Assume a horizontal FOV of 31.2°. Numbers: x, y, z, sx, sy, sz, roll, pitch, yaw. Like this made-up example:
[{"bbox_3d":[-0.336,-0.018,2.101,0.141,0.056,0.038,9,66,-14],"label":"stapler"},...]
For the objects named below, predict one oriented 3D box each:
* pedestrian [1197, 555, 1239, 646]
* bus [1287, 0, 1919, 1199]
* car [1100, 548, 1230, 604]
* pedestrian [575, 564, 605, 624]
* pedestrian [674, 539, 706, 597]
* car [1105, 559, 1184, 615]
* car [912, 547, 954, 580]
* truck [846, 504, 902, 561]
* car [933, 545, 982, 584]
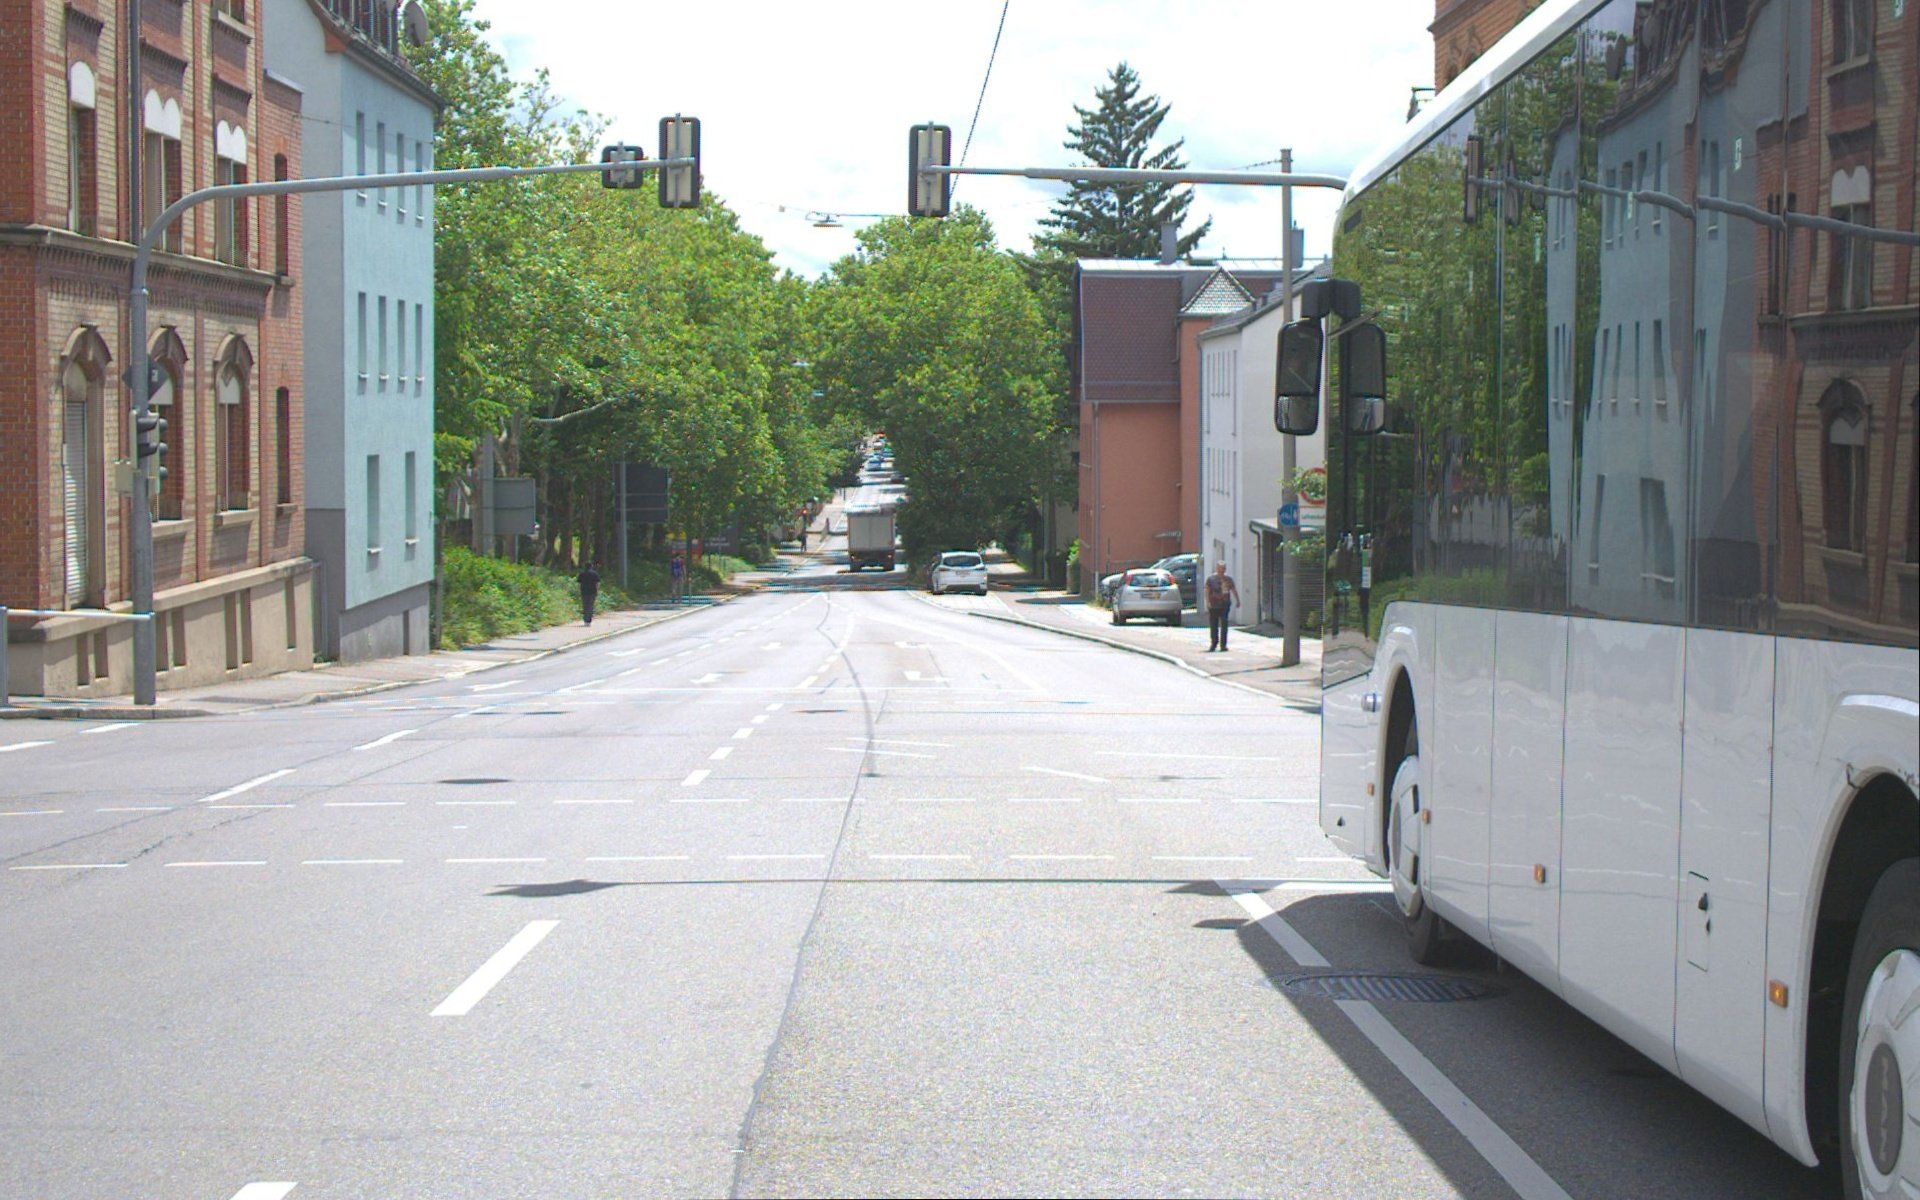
[{"bbox_3d":[5.000,0.003,66.636,0.738,1.744,0.619,-1,1,-1],"label":"pedestrian"},{"bbox_3d":[2.873,-0.218,9.230,2.672,3.145,12.462,0,1,-1],"label":"bus"},{"bbox_3d":[6.691,-0.792,112.681,3.986,1.751,2.000,-1,1,-5],"label":"car"},{"bbox_3d":[-9.668,-0.158,89.948,0.729,1.560,0.561,0,1,-1],"label":"pedestrian"},{"bbox_3d":[-9.428,-1.131,120.144,0.995,2.007,1.189,-1,1,-1],"label":"pedestrian"},{"bbox_3d":[4.976,-0.361,93.072,1.794,1.405,4.001,-1,1,-2],"label":"car"},{"bbox_3d":[-1.200,-1.637,154.110,1.794,1.405,4.419,1,1,0],"label":"car"},{"bbox_3d":[-4.846,-3.809,192.787,2.926,3.070,7.886,-1,1,-3],"label":"truck"},{"bbox_3d":[-0.119,-1.346,129.405,1.794,1.405,4.000,1,1,-1],"label":"car"}]
